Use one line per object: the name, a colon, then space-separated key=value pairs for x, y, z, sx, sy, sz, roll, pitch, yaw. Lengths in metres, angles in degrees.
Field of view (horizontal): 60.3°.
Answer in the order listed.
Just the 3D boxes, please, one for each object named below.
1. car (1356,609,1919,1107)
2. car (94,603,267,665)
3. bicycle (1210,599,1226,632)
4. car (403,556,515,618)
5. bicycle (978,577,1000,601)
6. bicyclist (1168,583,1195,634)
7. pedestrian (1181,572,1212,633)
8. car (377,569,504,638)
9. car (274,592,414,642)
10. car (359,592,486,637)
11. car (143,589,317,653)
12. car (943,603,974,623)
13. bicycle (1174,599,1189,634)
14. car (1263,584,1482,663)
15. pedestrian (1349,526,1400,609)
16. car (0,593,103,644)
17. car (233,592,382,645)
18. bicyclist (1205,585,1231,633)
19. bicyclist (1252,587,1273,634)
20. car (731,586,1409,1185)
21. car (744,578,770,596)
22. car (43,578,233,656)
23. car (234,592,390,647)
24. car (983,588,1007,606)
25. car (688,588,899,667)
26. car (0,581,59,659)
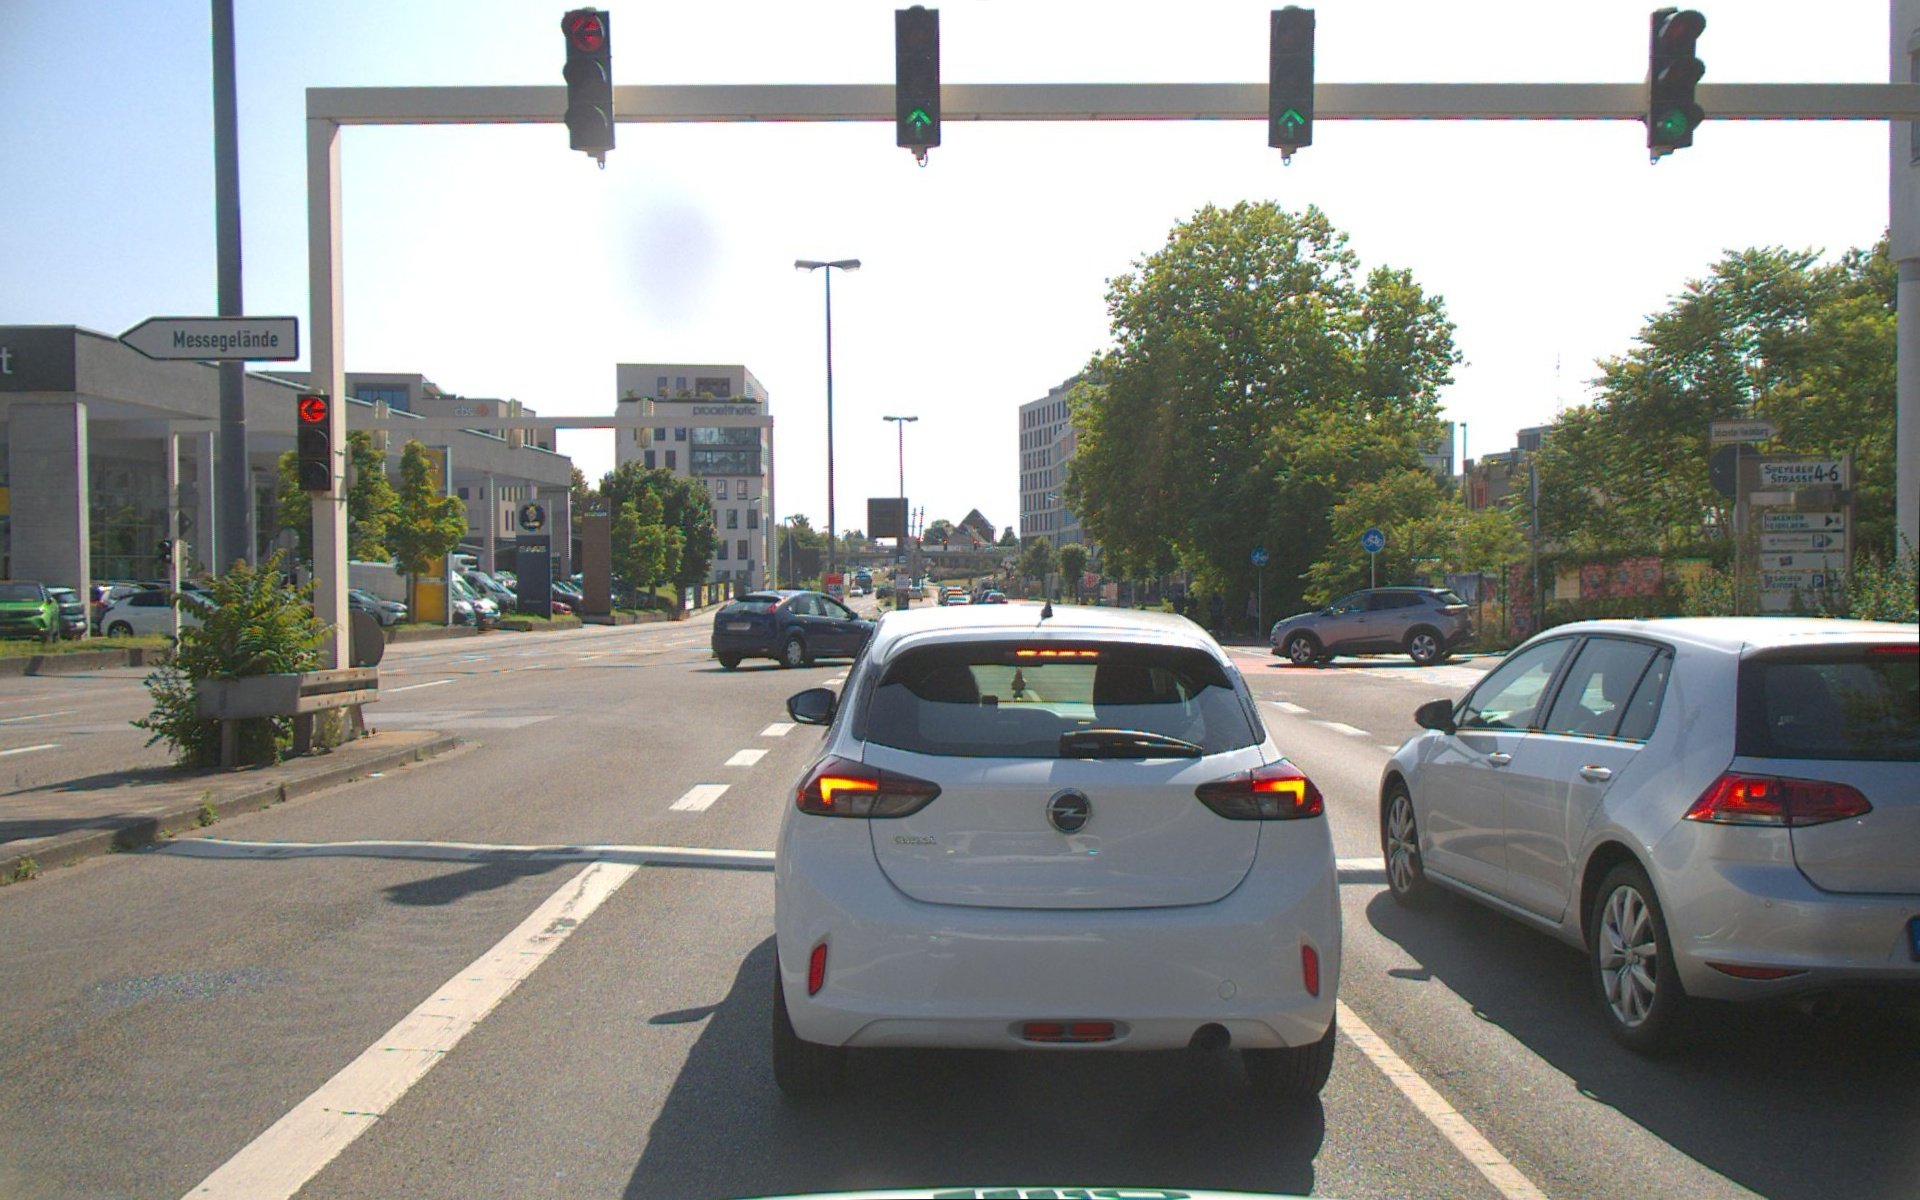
car: x=3.062 y=0.776 z=6.931 sx=1.770 sy=1.454 sz=3.999 roll=-1 pitch=0 yaw=-1
car: x=-21.587 y=0.932 z=45.946 sx=3.912 sy=1.627 sz=1.997 roll=-1 pitch=0 yaw=-8
bicycle: x=9.140 y=0.545 z=58.614 sx=0.366 sy=1.167 sz=1.034 roll=1 pitch=-1 yaw=-3
car: x=-21.988 y=-0.579 z=72.713 sx=4.265 sy=2.646 sz=2.001 roll=-1 pitch=0 yaw=4
bicycle: x=2.723 y=-1.061 z=155.482 sx=1.953 sy=2.195 sz=3.999 roll=-1 pitch=0 yaw=-1
bicyclist: x=7.960 y=0.298 z=59.453 sx=0.861 sy=1.803 sz=0.863 roll=0 pitch=0 yaw=-1
pedestrian: x=9.022 y=0.093 z=63.060 sx=1.006 sy=2.278 sz=1.038 roll=0 pitch=0 yaw=-1
car: x=-21.142 y=0.143 z=67.413 sx=4.401 sy=2.731 sz=2.130 roll=-1 pitch=0 yaw=8
car: x=-22.027 y=0.585 z=59.243 sx=4.270 sy=1.726 sz=1.999 roll=-1 pitch=0 yaw=-4
car: x=-21.070 y=0.560 z=64.965 sx=4.265 sy=1.726 sz=2.001 roll=-1 pitch=0 yaw=4
car: x=-21.390 y=0.605 z=48.627 sx=4.211 sy=1.796 sz=1.999 roll=-1 pitch=0 yaw=-4
car: x=-0.101 y=0.894 z=115.954 sx=1.954 sy=1.355 sz=3.997 roll=1 pitch=-1 yaw=-3
bicycle: x=7.963 y=0.587 z=59.440 sx=0.365 sy=1.238 sz=1.153 roll=1 pitch=0 yaw=-1
car: x=9.085 y=0.528 z=36.410 sx=4.332 sy=1.578 sz=1.998 roll=-2 pitch=-1 yaw=26
pedestrian: x=10.458 y=-0.818 z=41.773 sx=1.006 sy=2.049 sz=1.038 roll=0 pitch=0 yaw=-1
car: x=-26.266 y=0.538 z=45.529 sx=4.276 sy=1.290 sz=1.996 roll=-2 pitch=-1 yaw=-9
car: x=-22.037 y=0.610 z=55.983 sx=4.270 sy=1.726 sz=1.999 roll=-1 pitch=0 yaw=-4
bicyclist: x=9.150 y=0.308 z=58.659 sx=0.675 sy=1.672 sz=0.775 roll=0 pitch=0 yaw=-9
bicyclist: x=10.988 y=0.382 z=60.043 sx=0.639 sy=1.666 sz=0.659 roll=1 pitch=-1 yaw=0
car: x=0.253 y=0.725 z=6.270 sx=1.743 sy=1.520 sz=3.999 roll=-1 pitch=0 yaw=-1
car: x=-17.386 y=-1.122 z=142.012 sx=1.769 sy=1.410 sz=3.999 roll=1 pitch=-1 yaw=-1
car: x=-20.731 y=0.404 z=41.845 sx=3.793 sy=1.870 sz=1.999 roll=-1 pitch=0 yaw=-4
car: x=-21.019 y=0.618 z=53.769 sx=4.270 sy=1.726 sz=1.999 roll=0 pitch=0 yaw=-3
car: x=2.848 y=-0.219 z=135.312 sx=1.769 sy=1.410 sz=3.999 roll=1 pitch=-1 yaw=-1
car: x=-3.254 y=0.518 z=33.219 sx=1.958 sy=1.472 sz=4.359 roll=0 pitch=0 yaw=32
car: x=-22.561 y=0.495 z=38.950 sx=1.887 sy=1.764 sz=3.250 roll=-1 pitch=-1 yaw=-37
